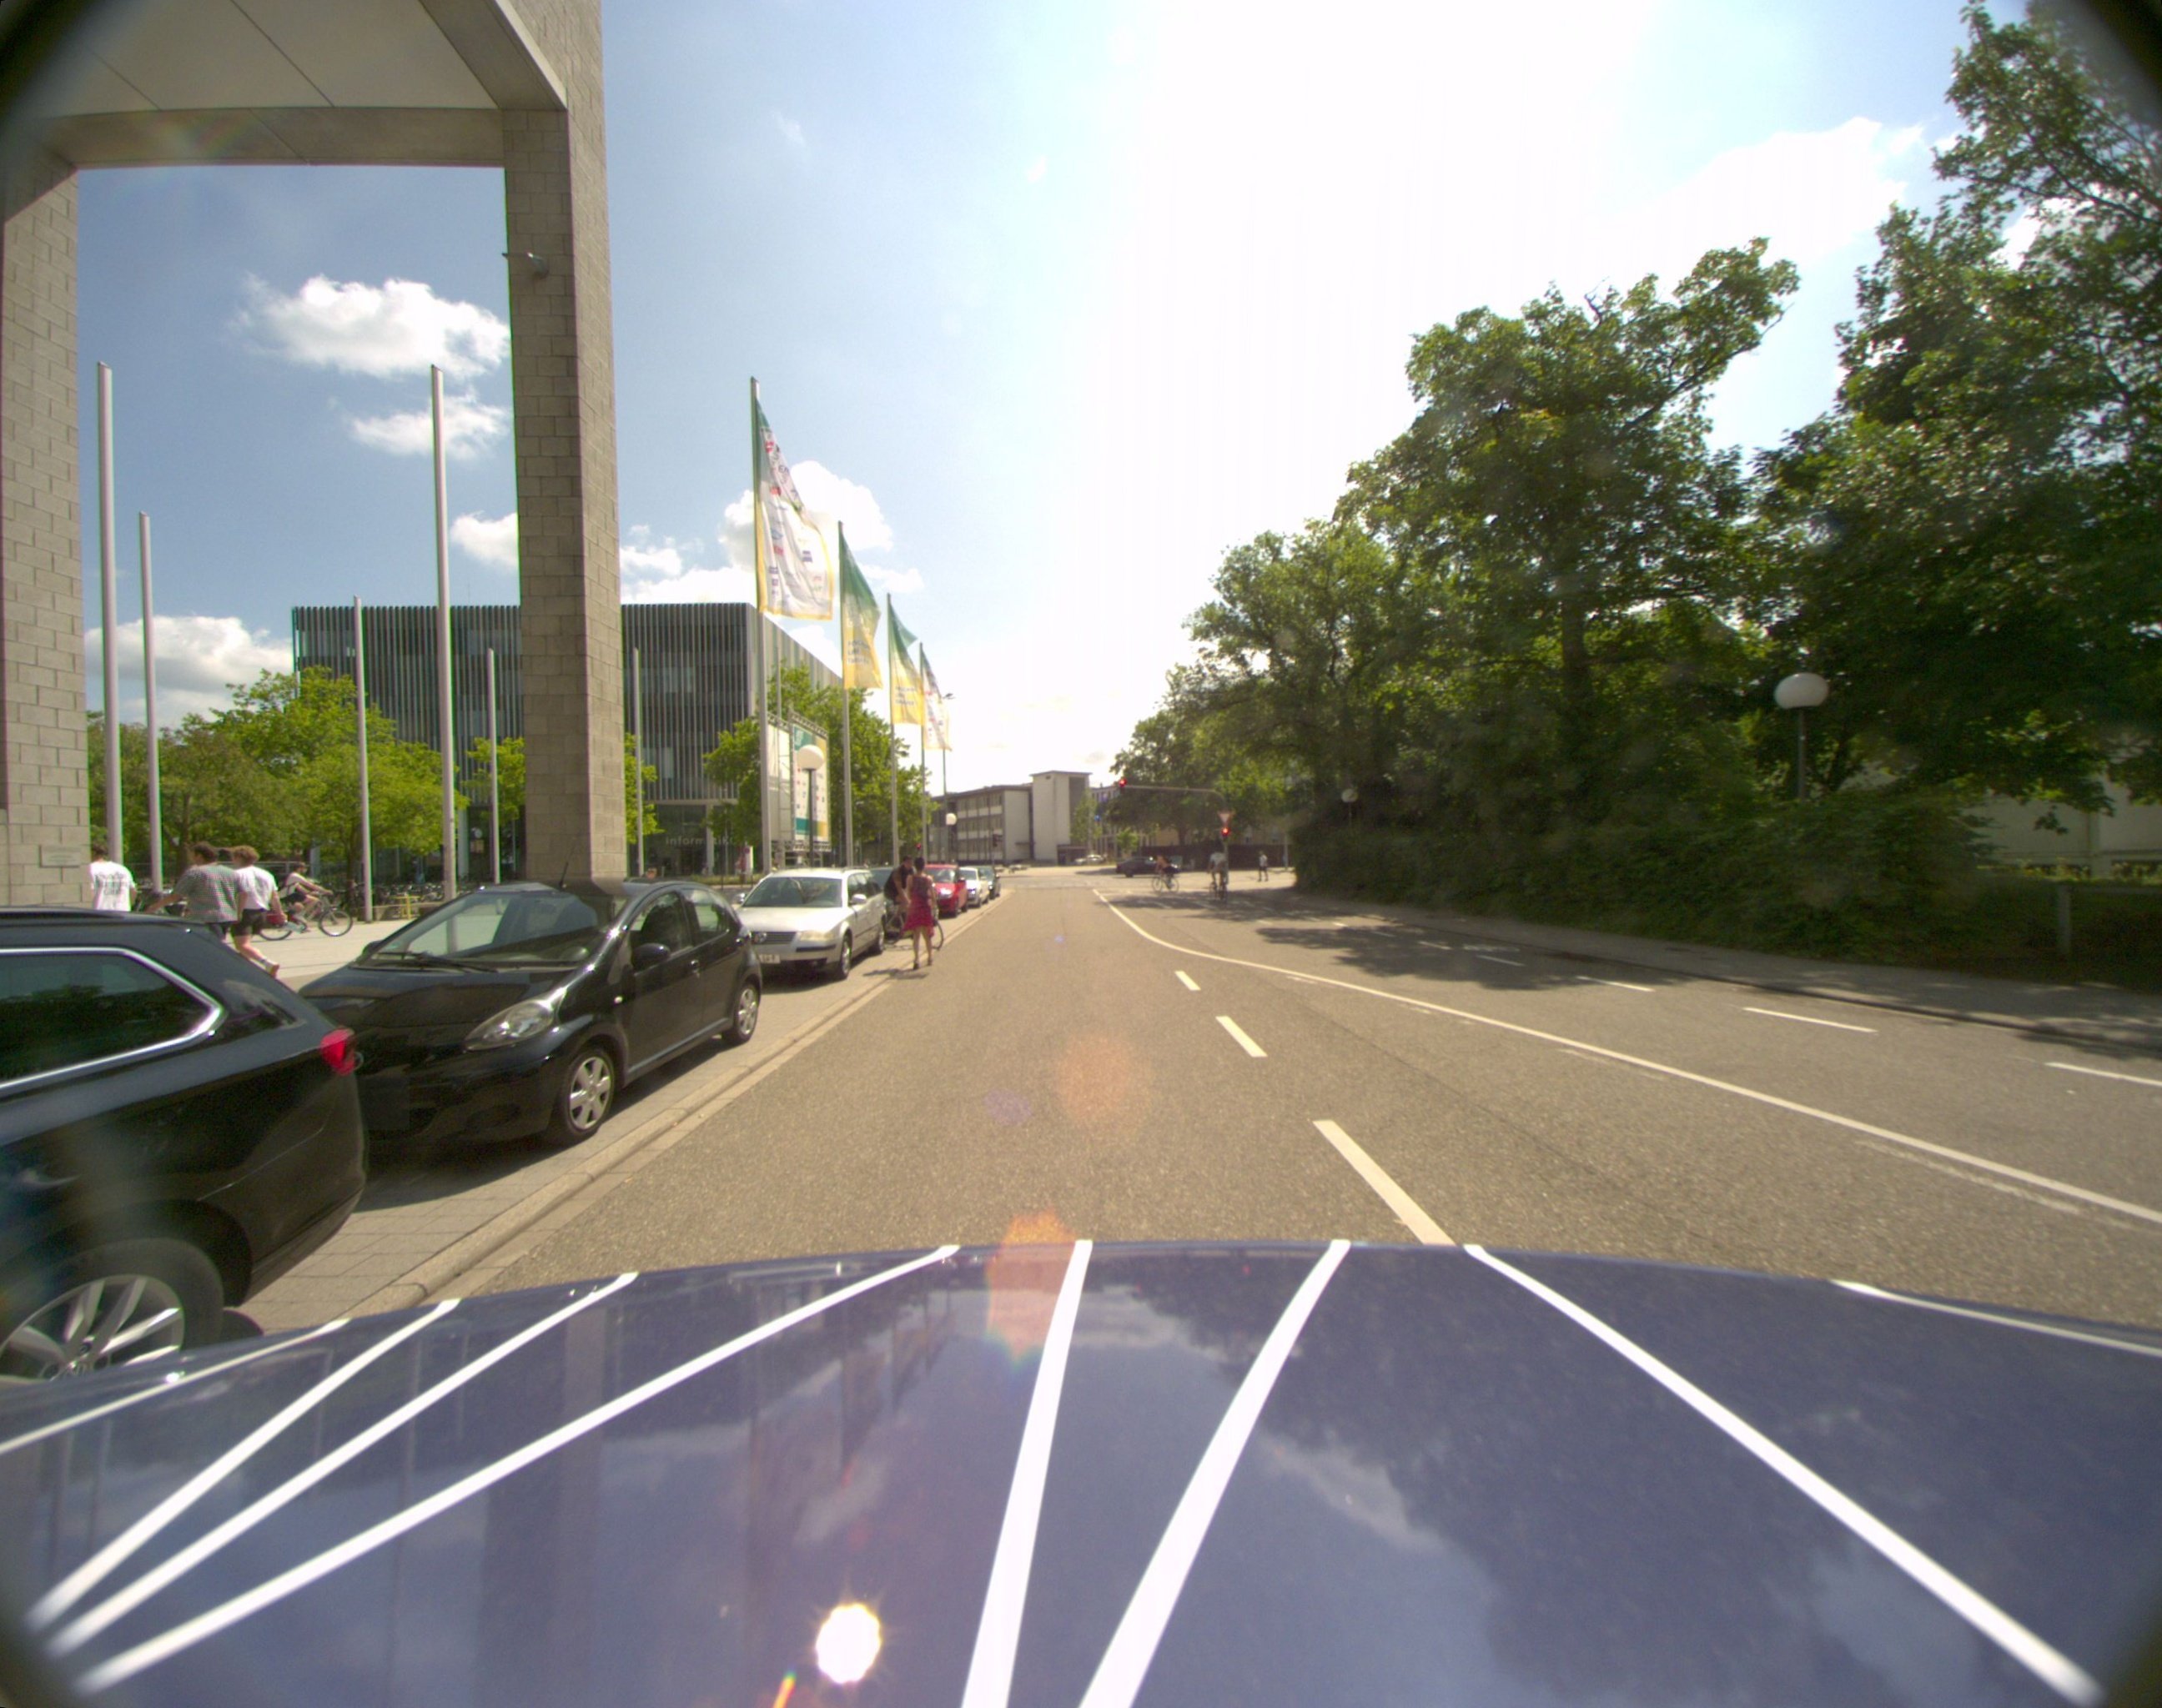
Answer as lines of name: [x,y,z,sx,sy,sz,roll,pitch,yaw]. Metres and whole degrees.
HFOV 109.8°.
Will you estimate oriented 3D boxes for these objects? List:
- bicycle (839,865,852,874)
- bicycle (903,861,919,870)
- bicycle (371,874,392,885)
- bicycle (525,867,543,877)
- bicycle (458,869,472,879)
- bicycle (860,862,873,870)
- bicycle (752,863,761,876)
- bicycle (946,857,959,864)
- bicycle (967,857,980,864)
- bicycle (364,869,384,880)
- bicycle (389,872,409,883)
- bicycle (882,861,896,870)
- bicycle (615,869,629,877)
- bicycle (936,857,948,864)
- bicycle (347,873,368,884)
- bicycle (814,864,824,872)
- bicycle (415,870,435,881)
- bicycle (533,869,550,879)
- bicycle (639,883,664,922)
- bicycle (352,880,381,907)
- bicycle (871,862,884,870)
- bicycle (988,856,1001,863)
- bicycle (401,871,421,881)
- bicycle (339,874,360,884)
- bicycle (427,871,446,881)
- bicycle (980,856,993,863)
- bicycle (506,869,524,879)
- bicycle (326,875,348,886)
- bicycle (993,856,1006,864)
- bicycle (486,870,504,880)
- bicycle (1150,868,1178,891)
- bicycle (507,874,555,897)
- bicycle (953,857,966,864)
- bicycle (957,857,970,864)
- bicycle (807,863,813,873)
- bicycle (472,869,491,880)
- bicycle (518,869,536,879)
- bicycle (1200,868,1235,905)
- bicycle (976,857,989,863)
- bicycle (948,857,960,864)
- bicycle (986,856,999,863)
bicycle: [-25.954,1.678,83.597,0.530,0.950,1.768,-7,5,-45]
bicycle: [-17.770,1.230,79.457,1.768,0.950,0.530,0,2,36]
bicycle: [-70.871,2.573,77.026,0.433,0.950,1.784,-1,2,-2]
bicycle: [-55.608,1.804,77.257,0.373,0.950,1.547,-1,2,14]
bicycle: [-61.945,2.027,76.372,0.373,0.950,1.544,-2,2,-12]
bicycle: [-23.967,1.343,84.741,1.768,0.950,0.530,0,2,42]
bicycle: [-33.268,1.596,77.914,0.373,1.180,1.545,0,2,-3]
bicycle: [-19.776,0.974,116.875,1.776,0.950,0.527,-1,2,-30]
bicycle: [-15.750,0.899,111.200,1.776,0.950,0.527,-1,2,-30]
bicycle: [-71.742,2.059,77.120,0.433,0.950,1.784,-1,2,-2]
bicycle: [-69.227,2.387,77.170,0.433,0.950,1.784,-1,2,-2]
bicycle: [-22.004,1.329,86.923,1.768,0.950,0.530,0,2,36]
bicycle: [-47.355,1.984,78.376,0.373,0.771,1.546,-1,2,2]
bicycle: [-21.967,1.043,119.922,1.776,0.950,0.527,-1,2,-30]
bicycle: [-73.300,2.500,77.007,0.433,0.950,1.784,-1,2,-2]
bicycle: [-28.257,1.526,81.880,0.530,0.759,1.769,-2,1,-33]
bicycle: [-66.881,2.189,77.471,0.433,0.950,1.784,-1,2,-2]
bicycle: [-55.044,2.071,77.534,0.373,0.950,1.547,-1,2,14]
bicycle: [-13.493,1.503,23.831,0.609,1.131,1.584,-1,-1,-32]
bicycle: [-33.129,1.833,35.258,0.605,1.093,1.763,-3,3,-32]
bicycle: [-22.924,1.346,85.783,1.768,0.950,0.530,0,2,42]
bicycle: [-12.102,0.794,106.552,1.776,0.950,0.527,-1,2,-30]
bicycle: [-68.202,2.244,77.340,0.433,0.950,1.784,-1,2,-2]
bicycle: [-74.097,2.545,76.984,0.433,0.950,1.784,-1,2,-2]
bicycle: [-65.749,2.216,77.493,0.433,0.950,1.784,-1,2,-2]
bicycle: [-13.418,0.848,108.427,1.776,0.950,0.527,-1,2,-30]
bicycle: [-57.513,2.021,77.246,0.373,0.950,1.547,-1,2,14]
bicycle: [-75.356,2.651,76.996,0.433,0.950,1.784,-1,2,-2]
bicycle: [-11.295,0.816,105.511,1.776,0.950,0.528,-1,2,-27]
bicycle: [-59.816,2.146,77.526,0.373,0.950,1.547,-1,2,14]
bicycle: [3.792,1.159,34.957,0.795,0.983,2.208,-1,1,-6]
bicycle: [-29.176,1.669,40.300,2.028,1.176,0.800,-1,2,9]
bicycle: [-18.234,0.947,114.213,1.776,0.950,0.527,-1,2,-30]
bicycle: [-17.415,0.961,112.833,1.776,0.950,0.527,-1,2,-30]
bicycle: [-29.087,1.478,81.460,0.529,0.950,1.770,-2,1,-21]
bicycle: [-61.057,2.070,77.398,0.373,0.950,1.547,-1,2,14]
bicycle: [-56.314,2.007,77.276,0.373,0.950,1.547,-1,2,14]
bicycle: [4.699,1.096,26.254,0.694,1.164,2.209,-1,1,-3]
bicycle: [-14.136,0.864,109.531,1.776,0.950,0.527,-1,2,-30]
bicycle: [-19.437,0.950,116.312,1.776,0.950,0.527,-1,2,-30]
bicycle: [-12.562,0.821,107.425,1.776,0.950,0.527,-1,2,-30]
